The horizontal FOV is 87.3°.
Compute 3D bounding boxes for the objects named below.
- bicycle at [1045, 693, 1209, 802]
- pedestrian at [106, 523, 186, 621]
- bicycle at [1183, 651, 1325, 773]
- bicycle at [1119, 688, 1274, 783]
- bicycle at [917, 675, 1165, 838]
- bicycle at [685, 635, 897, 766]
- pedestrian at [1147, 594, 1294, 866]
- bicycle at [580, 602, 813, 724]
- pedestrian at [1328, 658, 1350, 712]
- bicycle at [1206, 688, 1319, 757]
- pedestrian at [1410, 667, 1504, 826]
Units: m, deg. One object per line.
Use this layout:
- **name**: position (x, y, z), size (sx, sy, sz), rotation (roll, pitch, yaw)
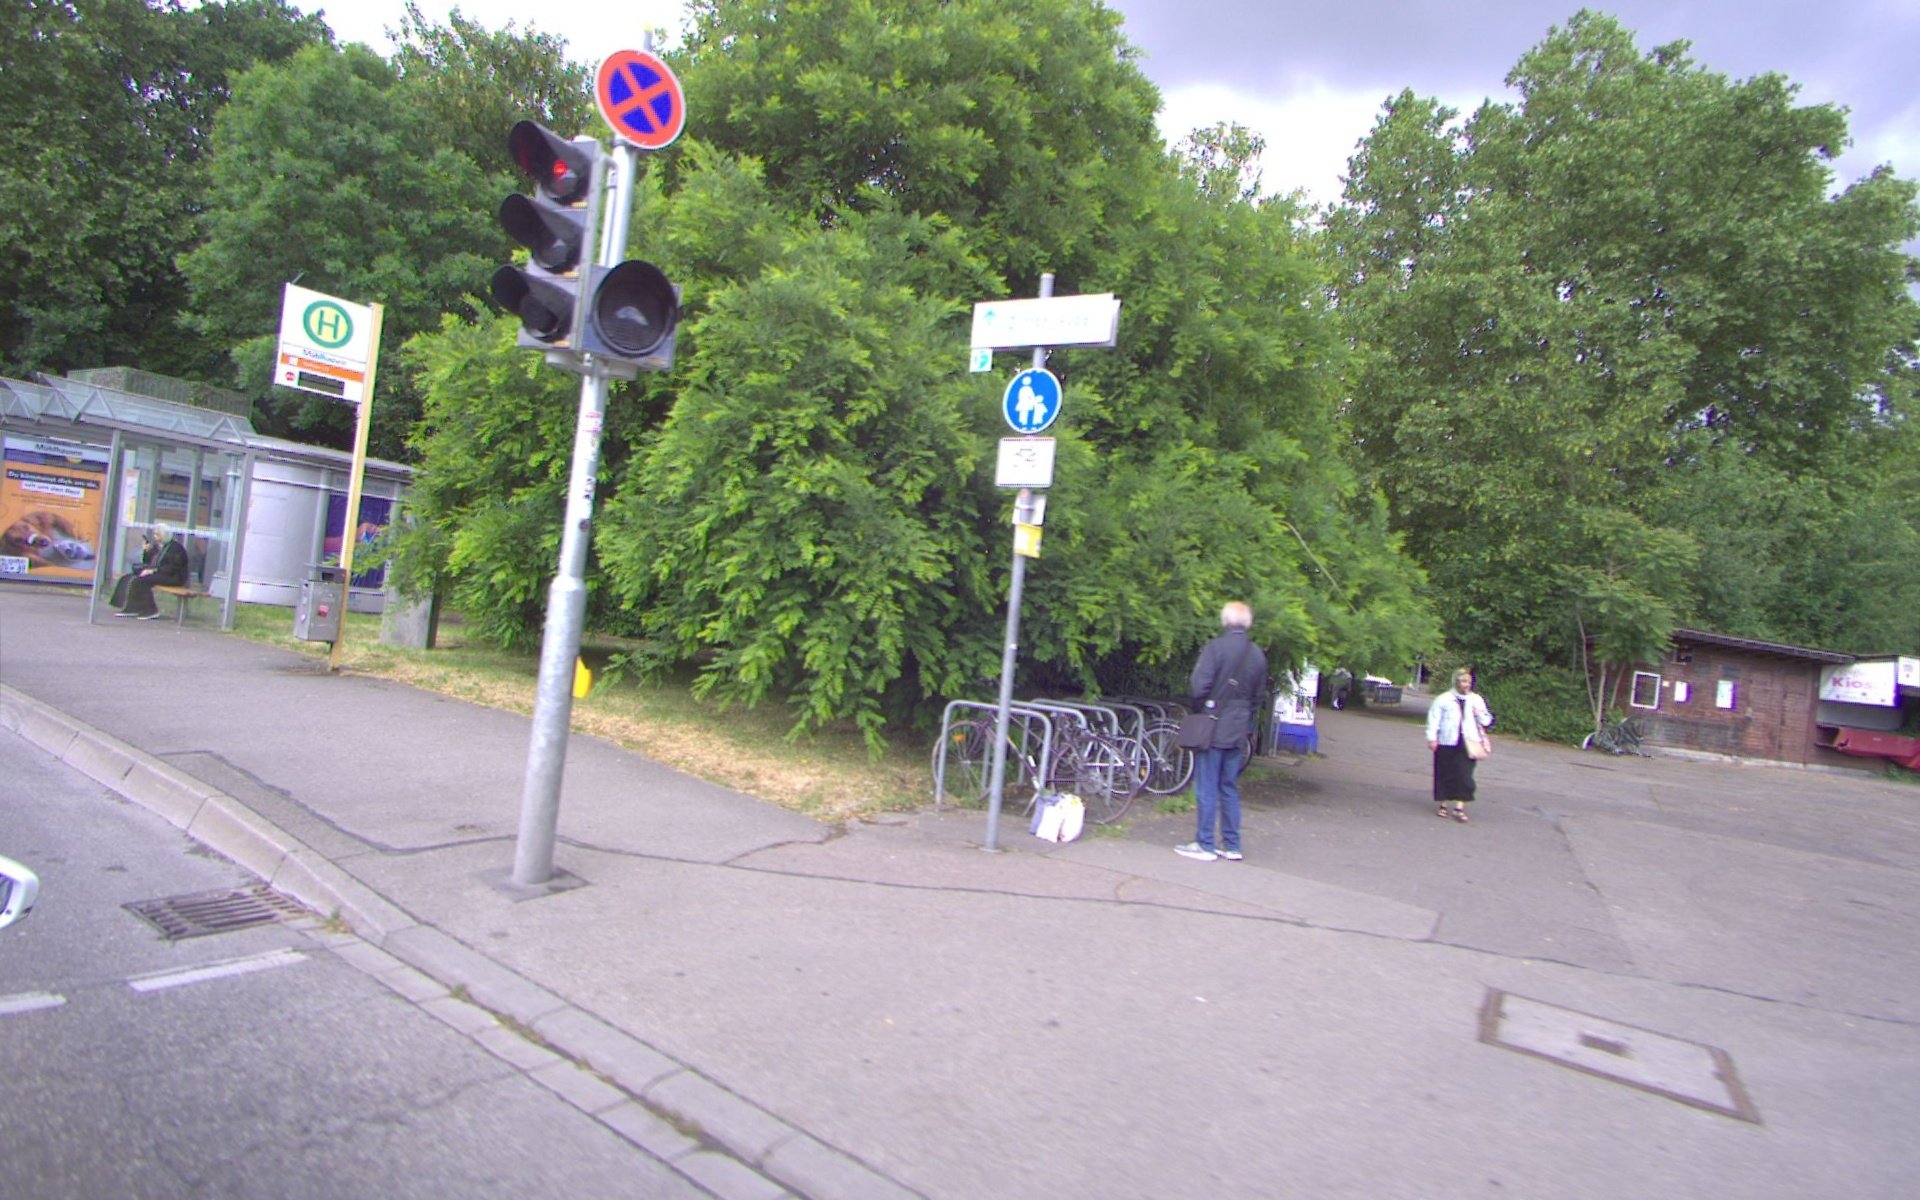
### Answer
- **bicycle**: position (1.680, 1.466, 10.194), size (1.489, 0.817, 0.477), rotation (7, -1, 30)
- **pedestrian**: position (-10.387, -0.353, 12.844), size (0.538, 1.173, 0.601), rotation (7, 1, 34)
- **bicycle**: position (4.029, 1.511, 13.814), size (1.629, 1.388, 0.645), rotation (7, -1, 30)
- **bicycle**: position (2.902, 1.644, 12.408), size (1.709, 0.866, 0.477), rotation (7, -1, 30)
- **bicycle**: position (0.627, 1.210, 8.073), size (1.818, 0.918, 0.523), rotation (8, 2, 25)
- **bicycle**: position (-1.387, 0.851, 8.628), size (0.536, 0.936, 1.867), rotation (9, 1, 35)
- **pedestrian**: position (1.789, 0.888, 6.933), size (0.681, 1.774, 0.418), rotation (7, -1, -23)
- **bicycle**: position (-2.467, 0.631, 9.619), size (2.031, 0.950, 0.585), rotation (9, -2, -42)
- **pedestrian**: position (11.721, 2.621, 31.094), size (0.488, 1.585, 0.617), rotation (4, 0, 25)
- **bicycle**: position (4.978, 1.997, 16.592), size (1.629, 0.866, 0.477), rotation (7, -1, 30)
- **pedestrian**: position (5.262, 1.513, 10.642), size (0.660, 1.533, 0.753), rotation (6, 1, 34)
